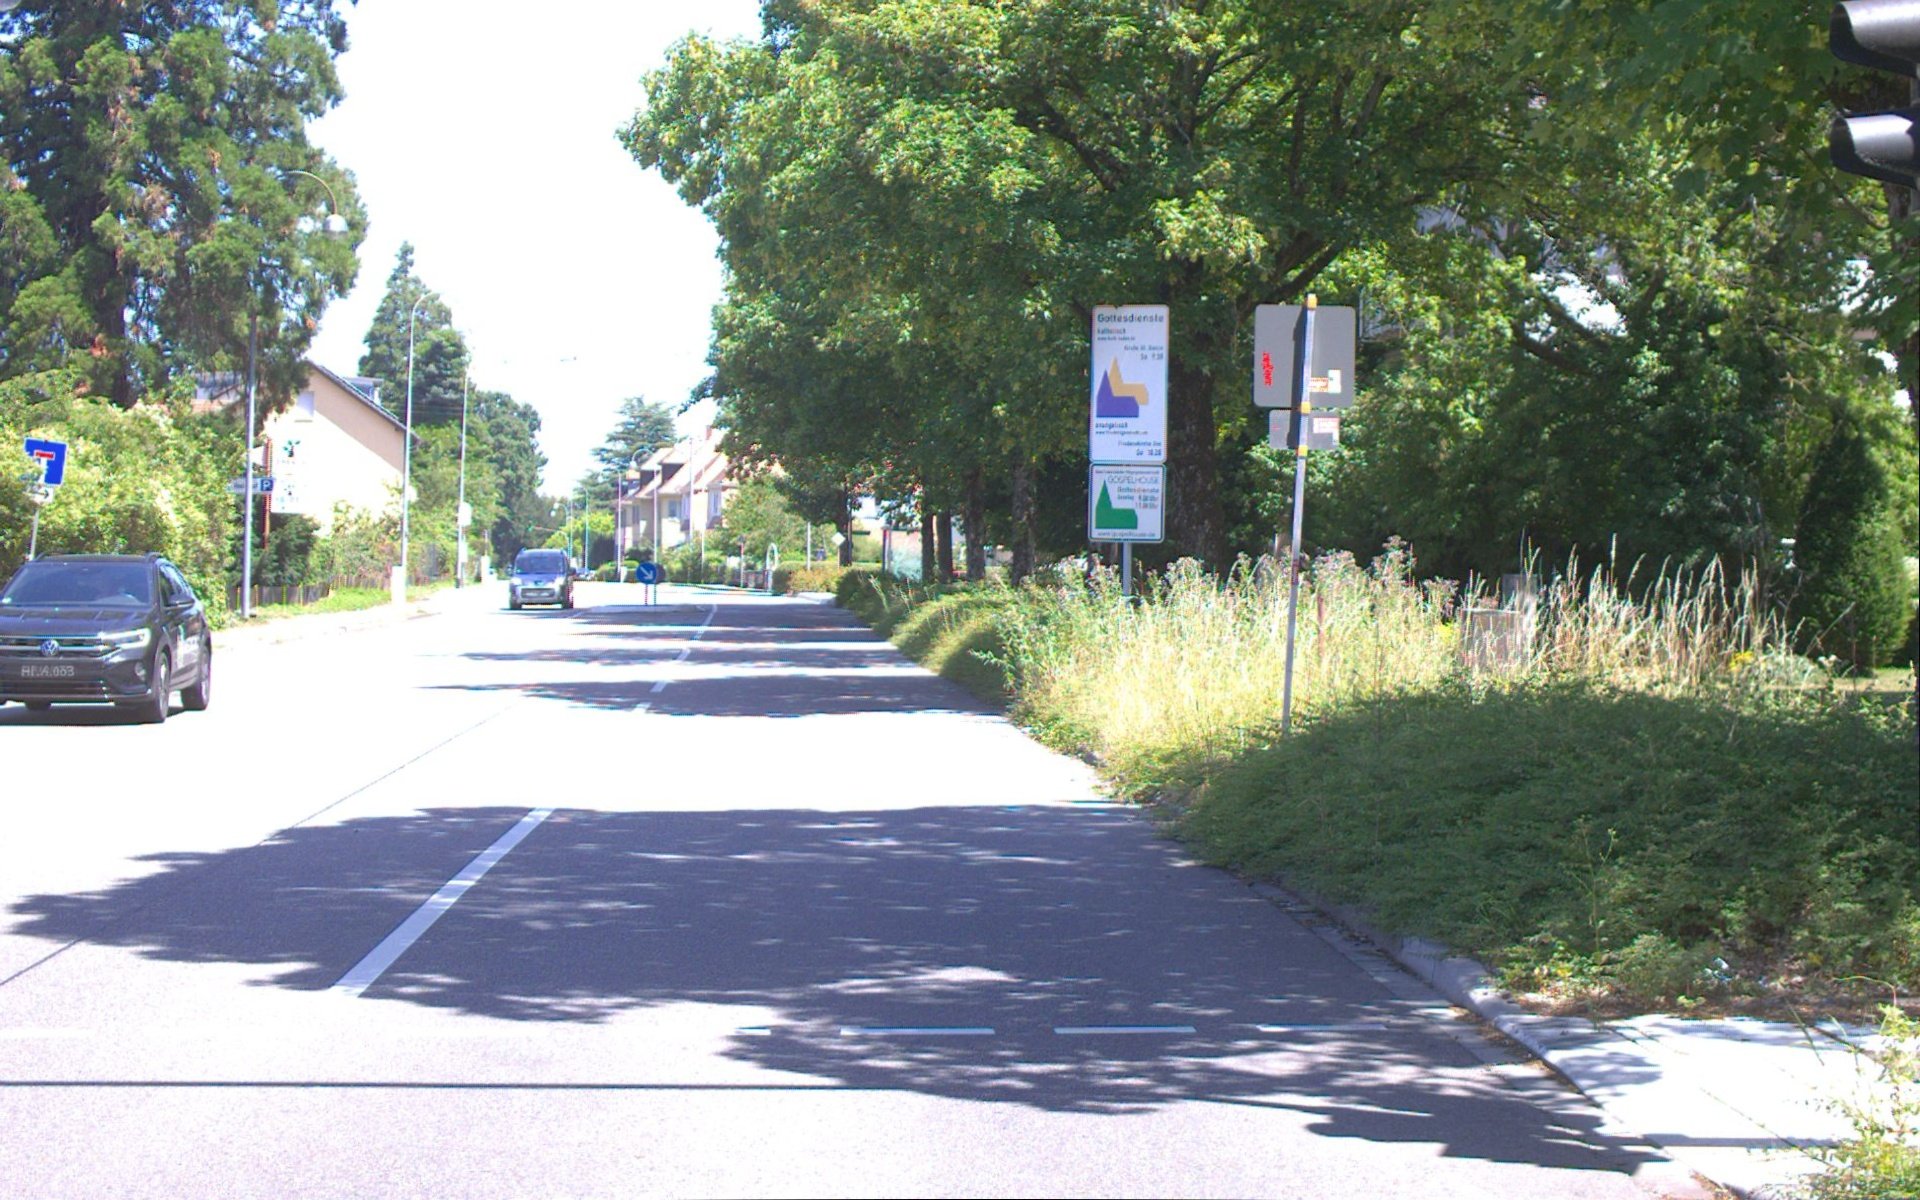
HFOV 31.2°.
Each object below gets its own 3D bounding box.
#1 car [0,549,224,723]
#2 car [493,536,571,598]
[{"bbox_3d":[-8.003,0.283,31.714,1.869,1.501,4.053,0,1,-5],"label":"car"},{"bbox_3d":[-12.719,-1.007,102.421,1.811,1.756,4.570,1,1,-1],"label":"car"}]
